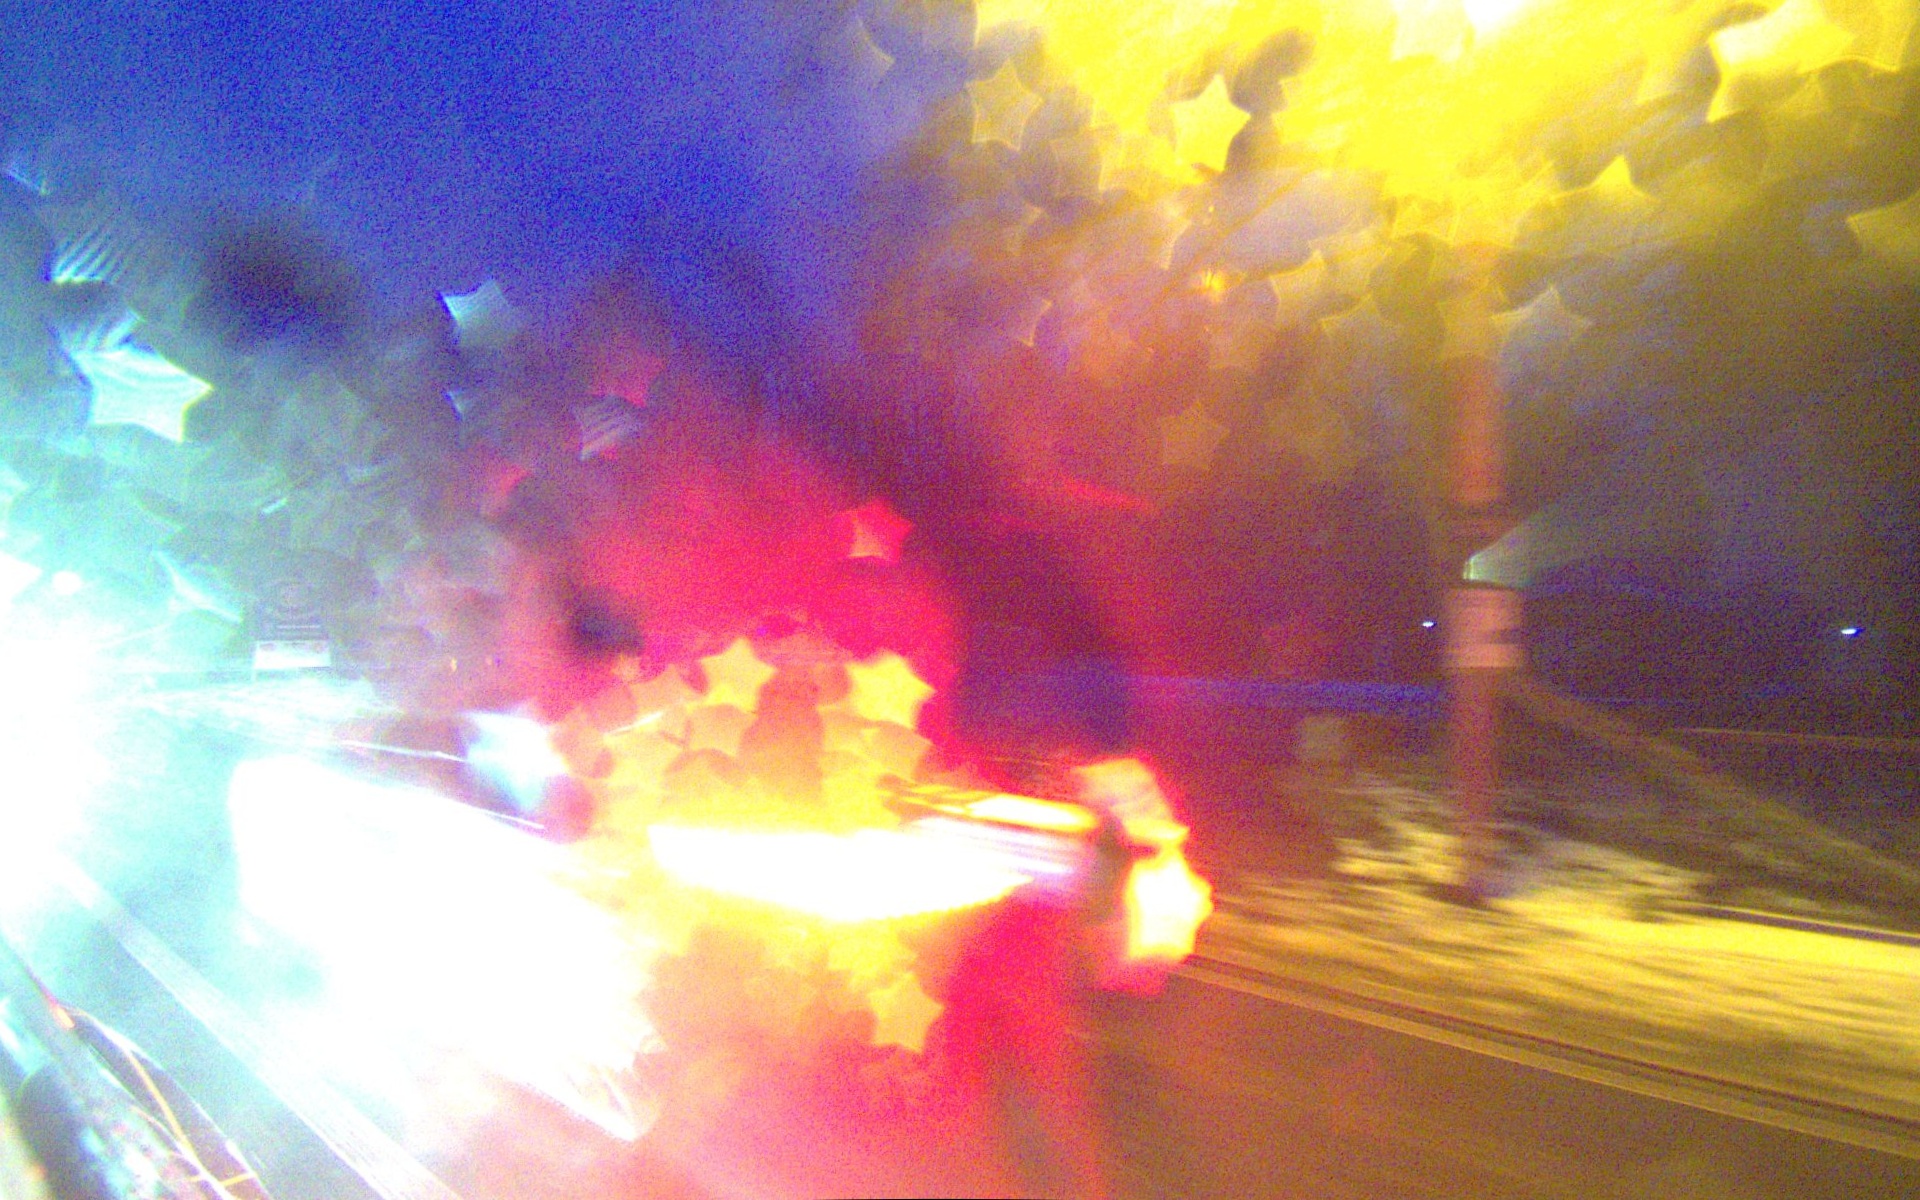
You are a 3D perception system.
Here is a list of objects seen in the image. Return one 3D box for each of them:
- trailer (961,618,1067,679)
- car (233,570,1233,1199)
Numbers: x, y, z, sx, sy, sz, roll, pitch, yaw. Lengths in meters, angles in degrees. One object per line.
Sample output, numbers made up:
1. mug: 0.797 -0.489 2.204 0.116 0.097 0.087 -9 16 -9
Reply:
1. trailer: 2.226 1.977 41.316 3.745 2.234 1.980 4 -2 -30
2. car: -1.316 0.795 4.218 4.355 1.557 1.853 0 -5 43
